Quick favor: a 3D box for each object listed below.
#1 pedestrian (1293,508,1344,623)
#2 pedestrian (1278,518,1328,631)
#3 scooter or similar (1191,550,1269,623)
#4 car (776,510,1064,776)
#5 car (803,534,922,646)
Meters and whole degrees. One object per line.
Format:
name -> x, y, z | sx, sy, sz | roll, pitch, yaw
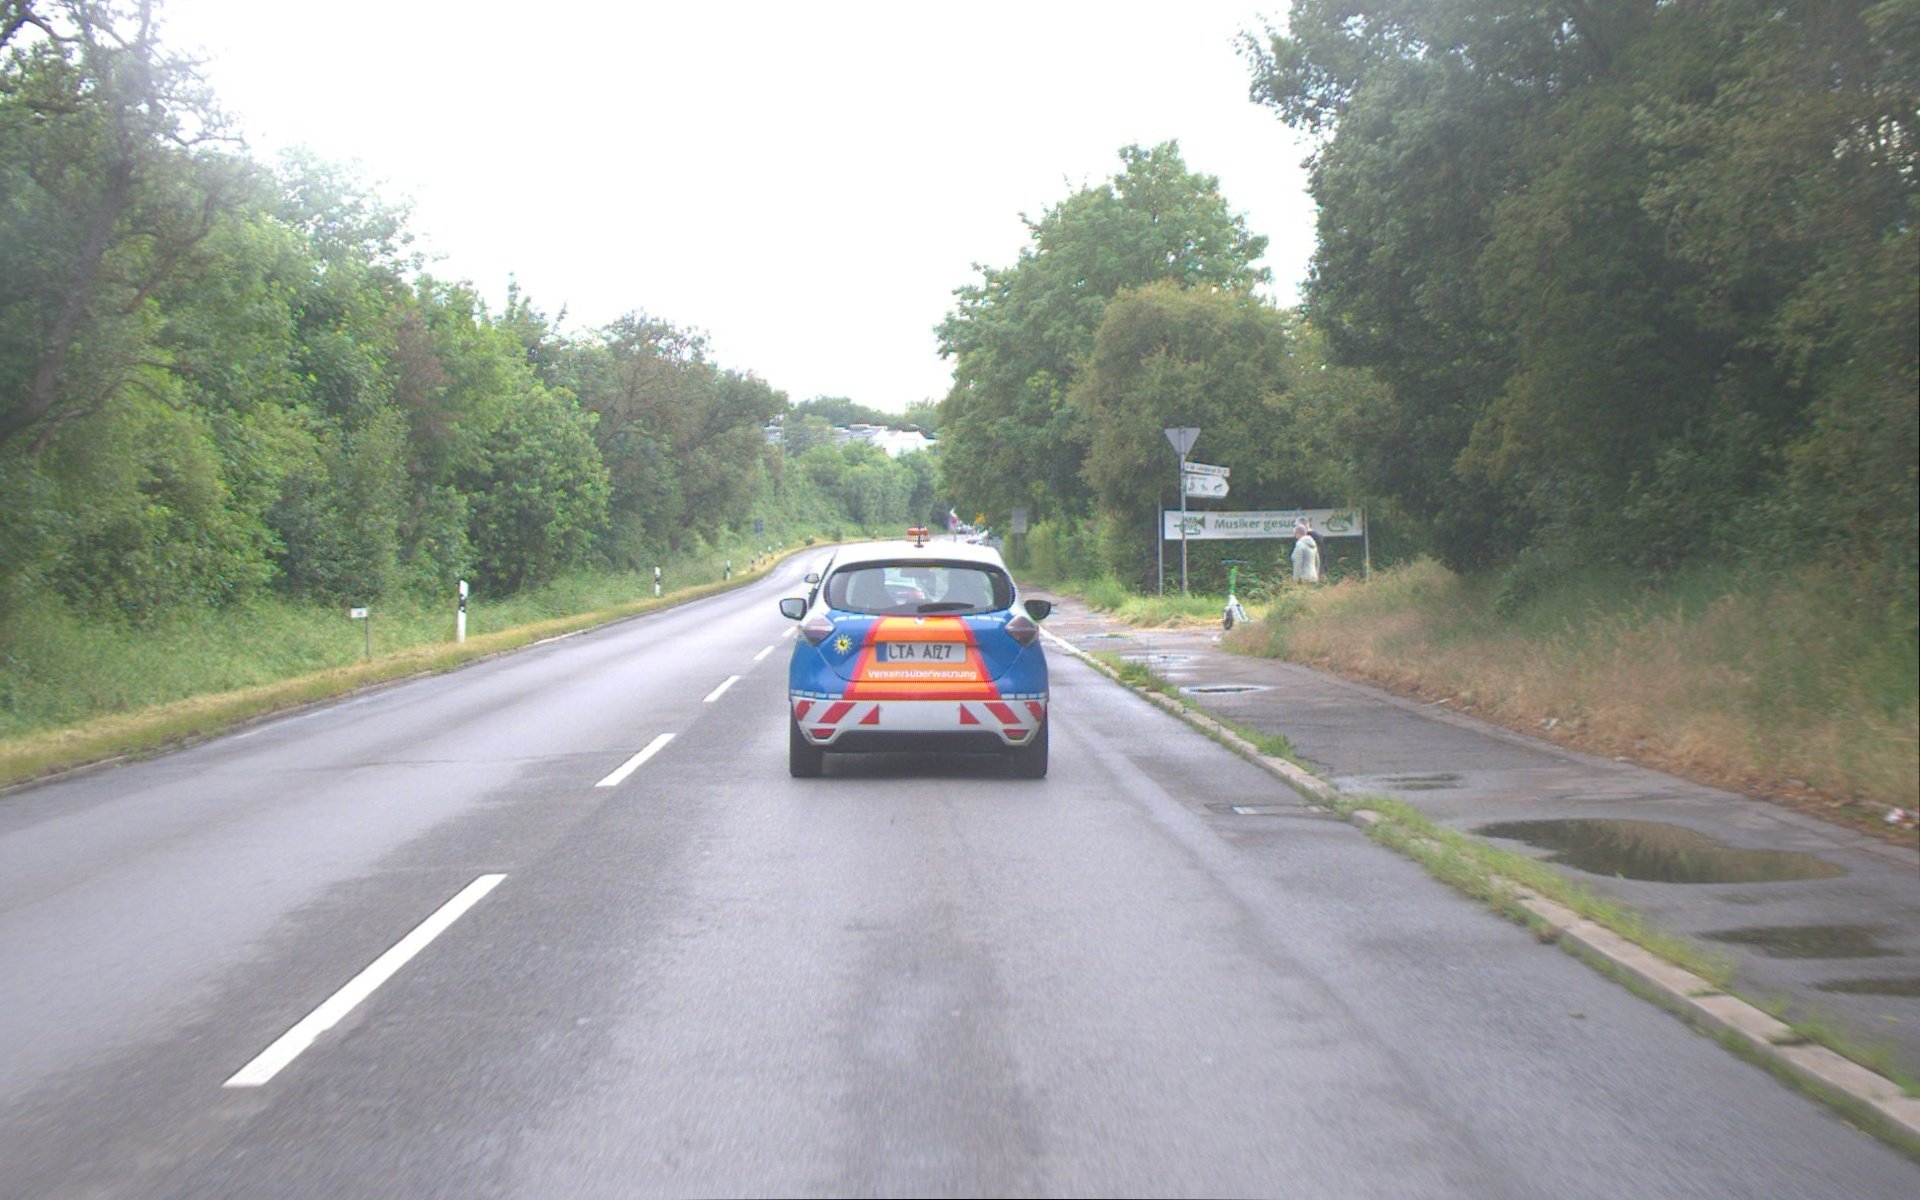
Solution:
pedestrian -> 5.803, -0.557, 55.650 | 0.693, 1.821, 0.801 | -1, 1, -1
pedestrian -> 5.465, -0.416, 54.819 | 0.661, 1.772, 0.760 | -1, 1, -1
scooter or similar -> 4.542, -0.221, 57.880 | 1.326, 1.202, 0.373 | -1, 1, 40
car -> -0.300, 0.251, 23.846 | 1.806, 1.662, 3.856 | 1, 1, -1
car -> -1.485, -0.169, 51.677 | 1.694, 1.590, 3.856 | 1, 1, -2
